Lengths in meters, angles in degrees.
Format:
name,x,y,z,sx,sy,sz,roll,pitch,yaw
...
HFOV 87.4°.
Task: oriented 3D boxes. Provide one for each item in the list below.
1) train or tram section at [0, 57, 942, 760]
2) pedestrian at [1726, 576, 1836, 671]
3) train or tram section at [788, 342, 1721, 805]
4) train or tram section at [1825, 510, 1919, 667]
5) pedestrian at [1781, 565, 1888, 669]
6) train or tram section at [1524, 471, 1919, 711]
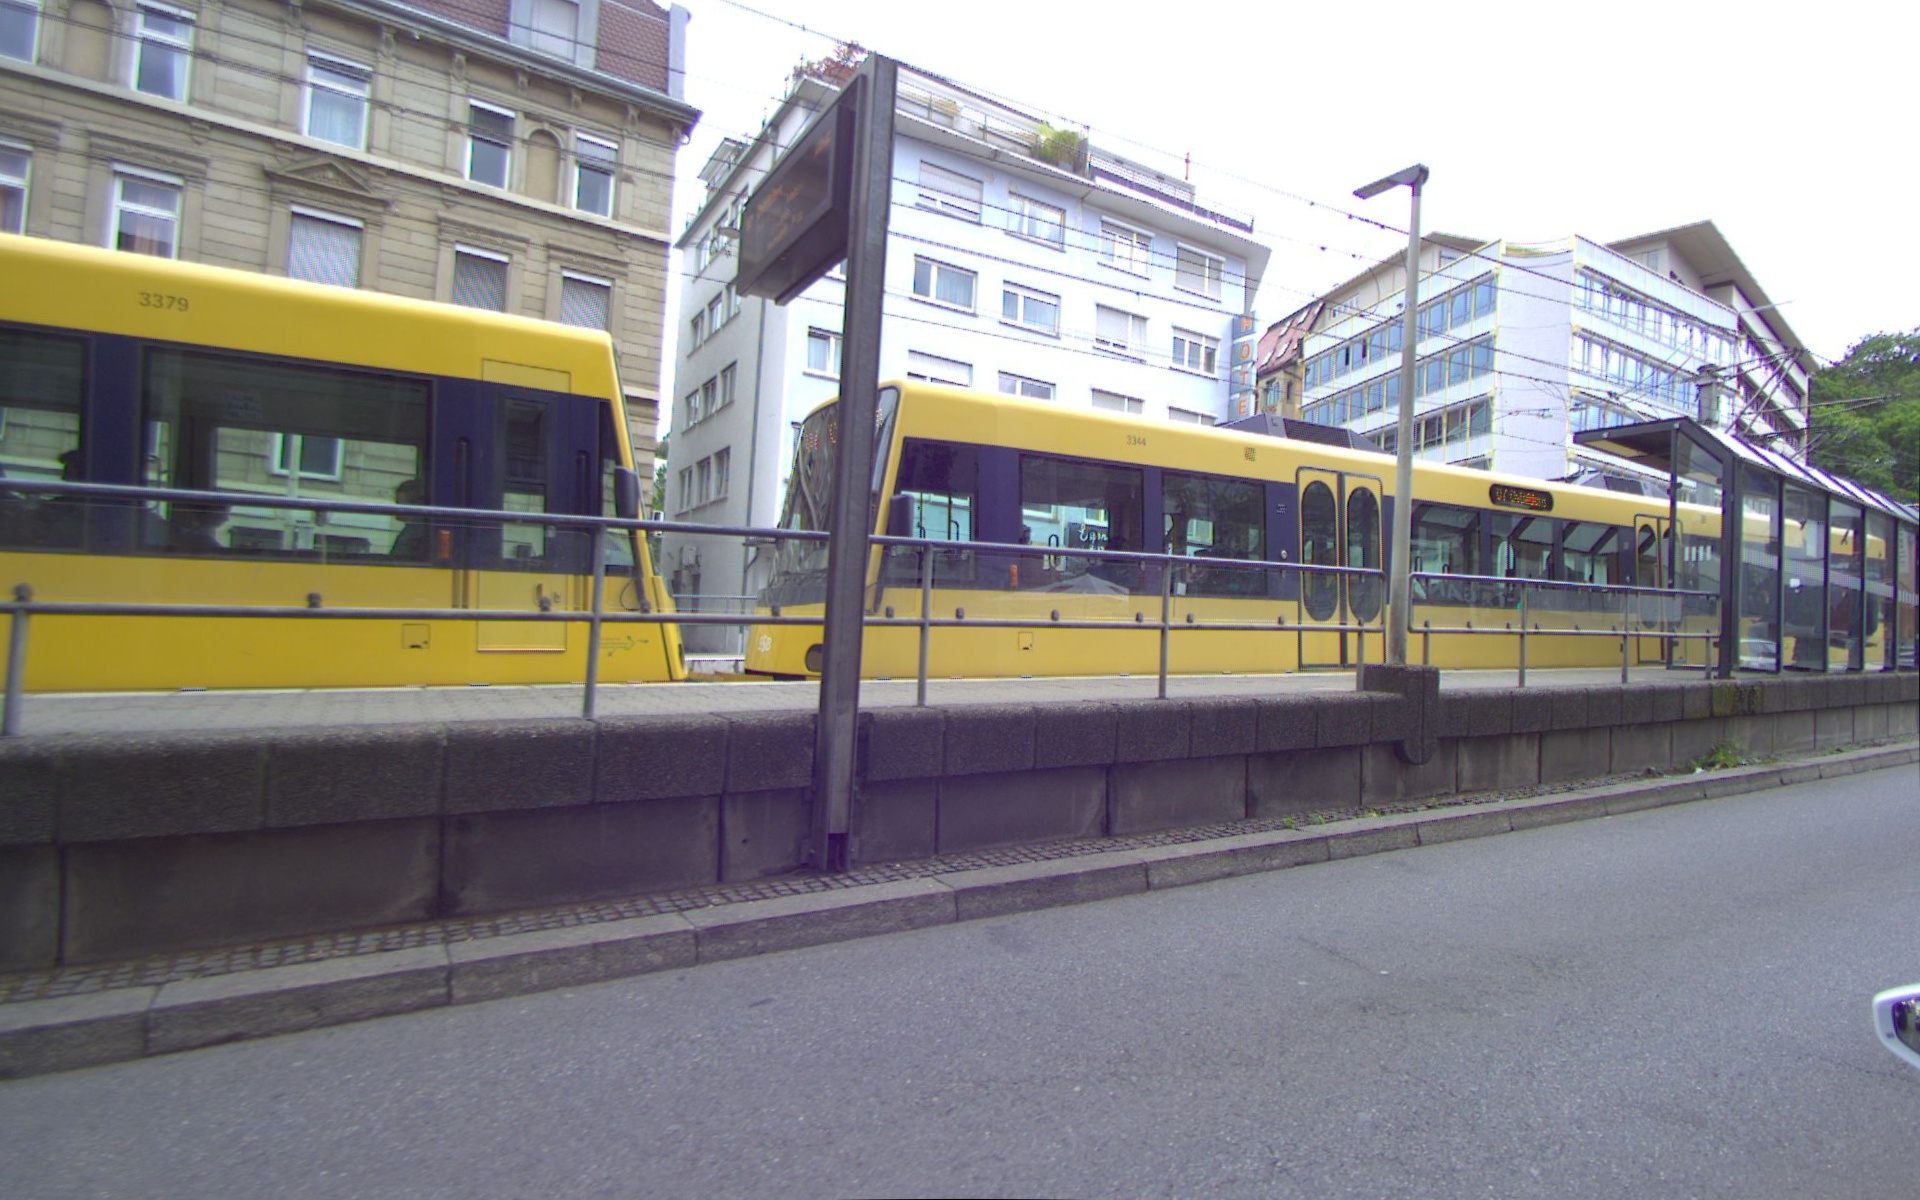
name,x,y,z,sx,sy,sz,roll,pitch,yaw
train or tram section,-6.949,-1.046,5.662,14.065,3.606,2.908,2,1,-31
pedestrian,10.418,0.315,12.760,0.769,1.157,0.846,2,-3,-29
train or tram section,4.939,-0.122,12.992,14.070,3.711,2.867,0,-3,-32
train or tram section,28.796,-0.241,27.978,14.313,3.711,2.867,0,-3,-32
pedestrian,11.605,0.244,13.346,0.769,1.323,0.846,2,-3,-29
train or tram section,16.877,-0.045,20.462,14.070,3.711,2.867,0,-3,-32
